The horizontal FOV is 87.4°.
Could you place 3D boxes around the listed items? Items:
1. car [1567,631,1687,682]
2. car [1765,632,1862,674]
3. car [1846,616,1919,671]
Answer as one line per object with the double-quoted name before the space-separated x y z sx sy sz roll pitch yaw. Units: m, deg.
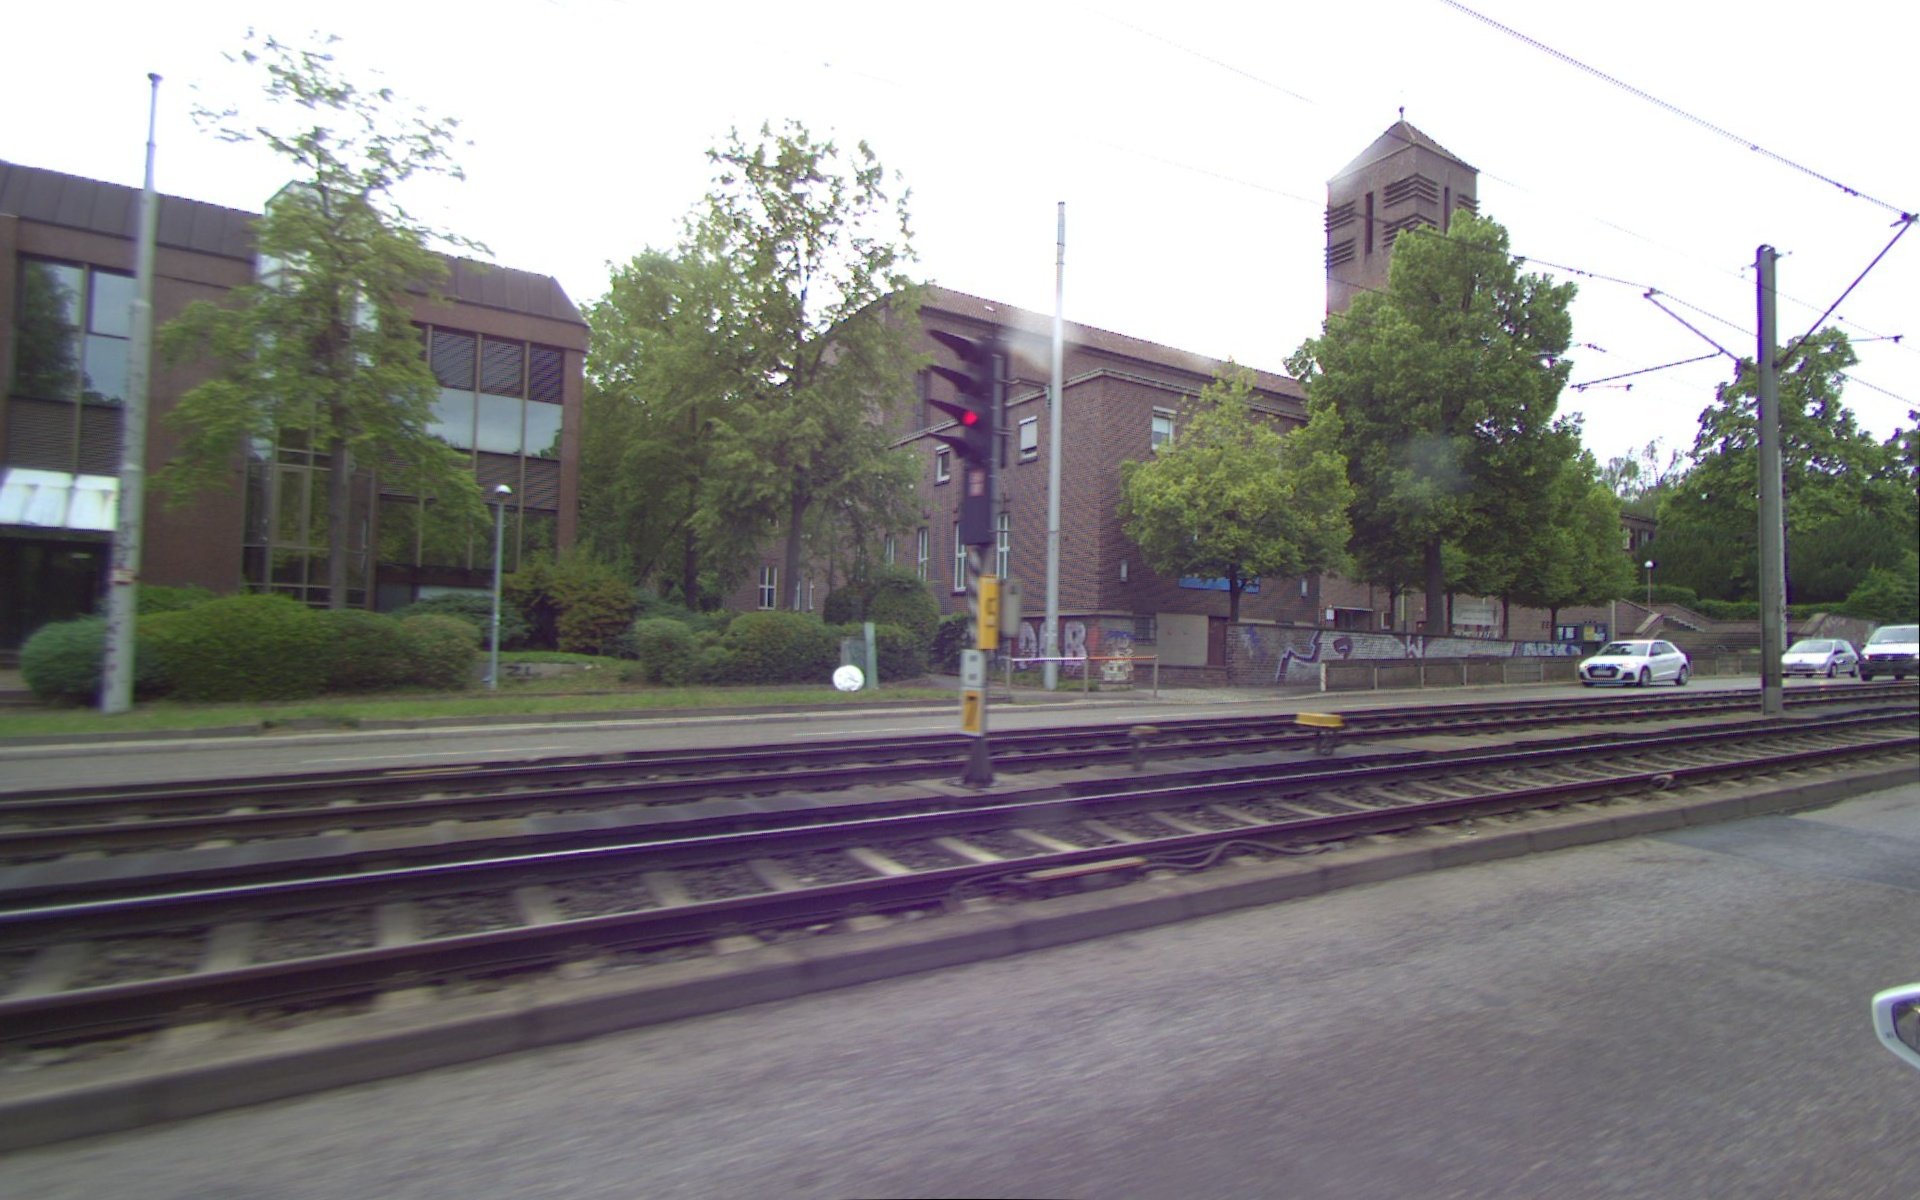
"car" 20.765 1.707 31.233 3.955 1.453 1.608 1 0 -32
"car" 32.916 2.004 38.716 3.955 1.463 1.719 1 0 -32
"car" 32.103 1.421 33.867 5.068 1.684 1.983 1 0 -32
